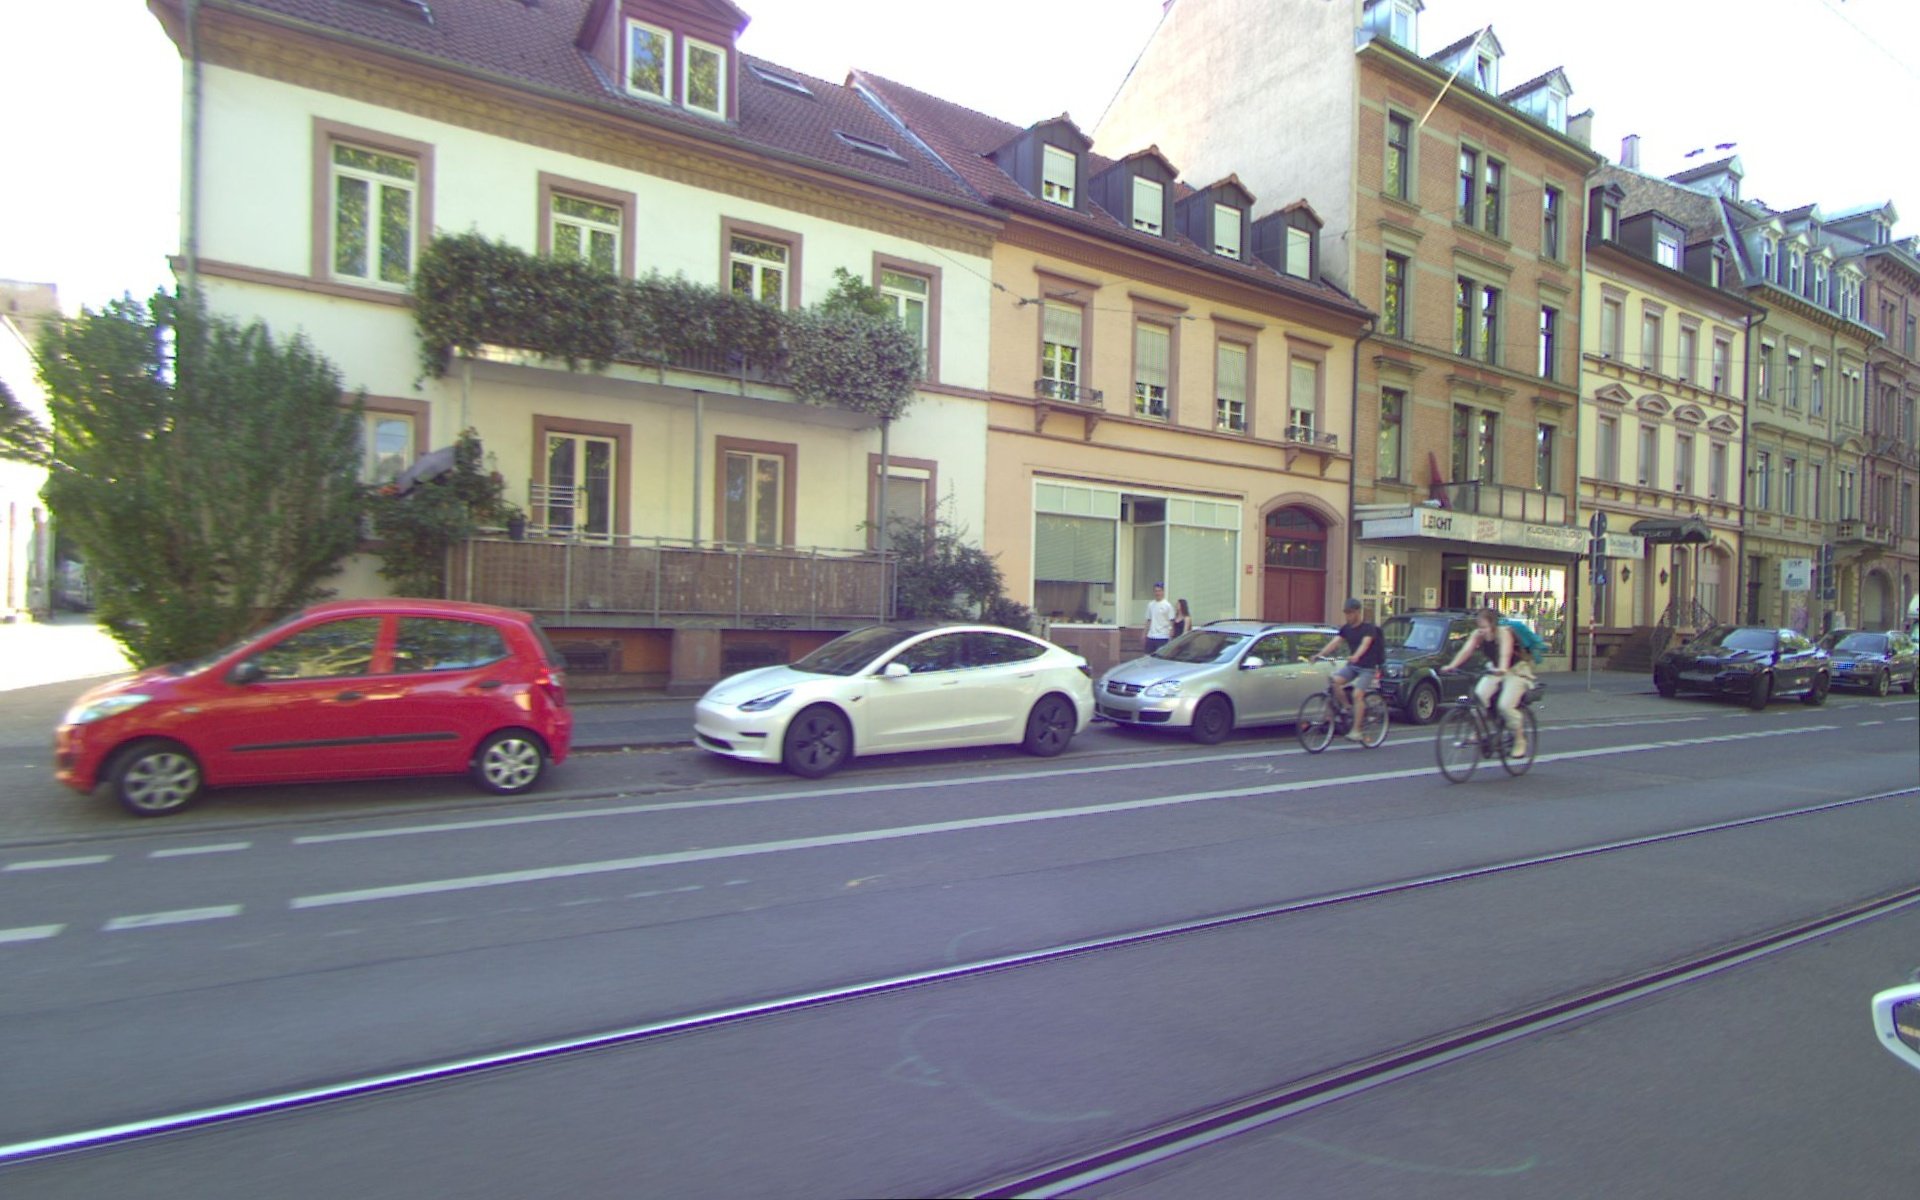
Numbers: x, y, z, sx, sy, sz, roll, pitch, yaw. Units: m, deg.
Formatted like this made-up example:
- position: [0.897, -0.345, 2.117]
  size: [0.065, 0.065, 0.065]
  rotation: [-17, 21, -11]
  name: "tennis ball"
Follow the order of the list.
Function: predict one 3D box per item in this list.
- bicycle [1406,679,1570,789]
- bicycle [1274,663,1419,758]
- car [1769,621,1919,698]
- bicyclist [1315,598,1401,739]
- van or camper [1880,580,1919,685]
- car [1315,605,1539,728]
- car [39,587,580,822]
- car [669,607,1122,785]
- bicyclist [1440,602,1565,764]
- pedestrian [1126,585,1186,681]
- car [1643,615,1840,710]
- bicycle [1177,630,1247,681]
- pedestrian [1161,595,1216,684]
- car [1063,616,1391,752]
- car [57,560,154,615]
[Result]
- position: [5.211, 1.282, 9.872]
  size: [1.899, 0.955, 0.496]
  rotation: [2, -2, -30]
  name: "bicycle"
- position: [4.720, 1.308, 12.210]
  size: [2.015, 1.061, 0.482]
  rotation: [2, -2, -30]
  name: "bicycle"
- position: [23.636, 1.545, 26.757]
  size: [4.423, 1.805, 1.953]
  rotation: [2, 0, -33]
  name: "car"
- position: [4.869, 0.827, 12.292]
  size: [0.886, 1.656, 0.533]
  rotation: [2, -2, -30]
  name: "bicyclist"
- position: [32.307, 1.079, 32.105]
  size: [7.029, 3.182, 2.206]
  rotation: [2, 0, -30]
  name: "van or camper"
- position: [7.640, 1.018, 16.350]
  size: [3.645, 1.755, 1.547]
  rotation: [2, 1, -33]
  name: "car"
- position: [-5.043, 0.746, 8.275]
  size: [3.405, 1.583, 1.563]
  rotation: [1, -1, -28]
  name: "car"
- position: [-0.588, 0.910, 10.977]
  size: [4.639, 1.523, 1.816]
  rotation: [2, 1, -34]
  name: "car"
- position: [5.378, 0.798, 9.959]
  size: [1.057, 1.523, 0.635]
  rotation: [2, -2, -30]
  name: "bicyclist"
- position: [3.498, 0.578, 17.931]
  size: [0.763, 1.656, 0.653]
  rotation: [3, 1, 43]
  name: "pedestrian"
- position: [17.658, 1.350, 22.630]
  size: [4.885, 1.805, 1.952]
  rotation: [2, 2, -33]
  name: "car"
- position: [5.268, 1.144, 20.964]
  size: [1.703, 1.028, 0.297]
  rotation: [2, -1, -31]
  name: "bicycle"
- position: [3.966, 0.673, 17.438]
  size: [0.628, 1.480, 0.653]
  rotation: [3, 1, 43]
  name: "pedestrian"
- position: [3.717, 1.049, 13.730]
  size: [4.401, 1.523, 1.817]
  rotation: [2, 1, -33]
  name: "car"
- position: [-33.993, -0.486, 39.952]
  size: [3.768, 2.019, 1.803]
  rotation: [3, 1, 30]
  name: "car"
